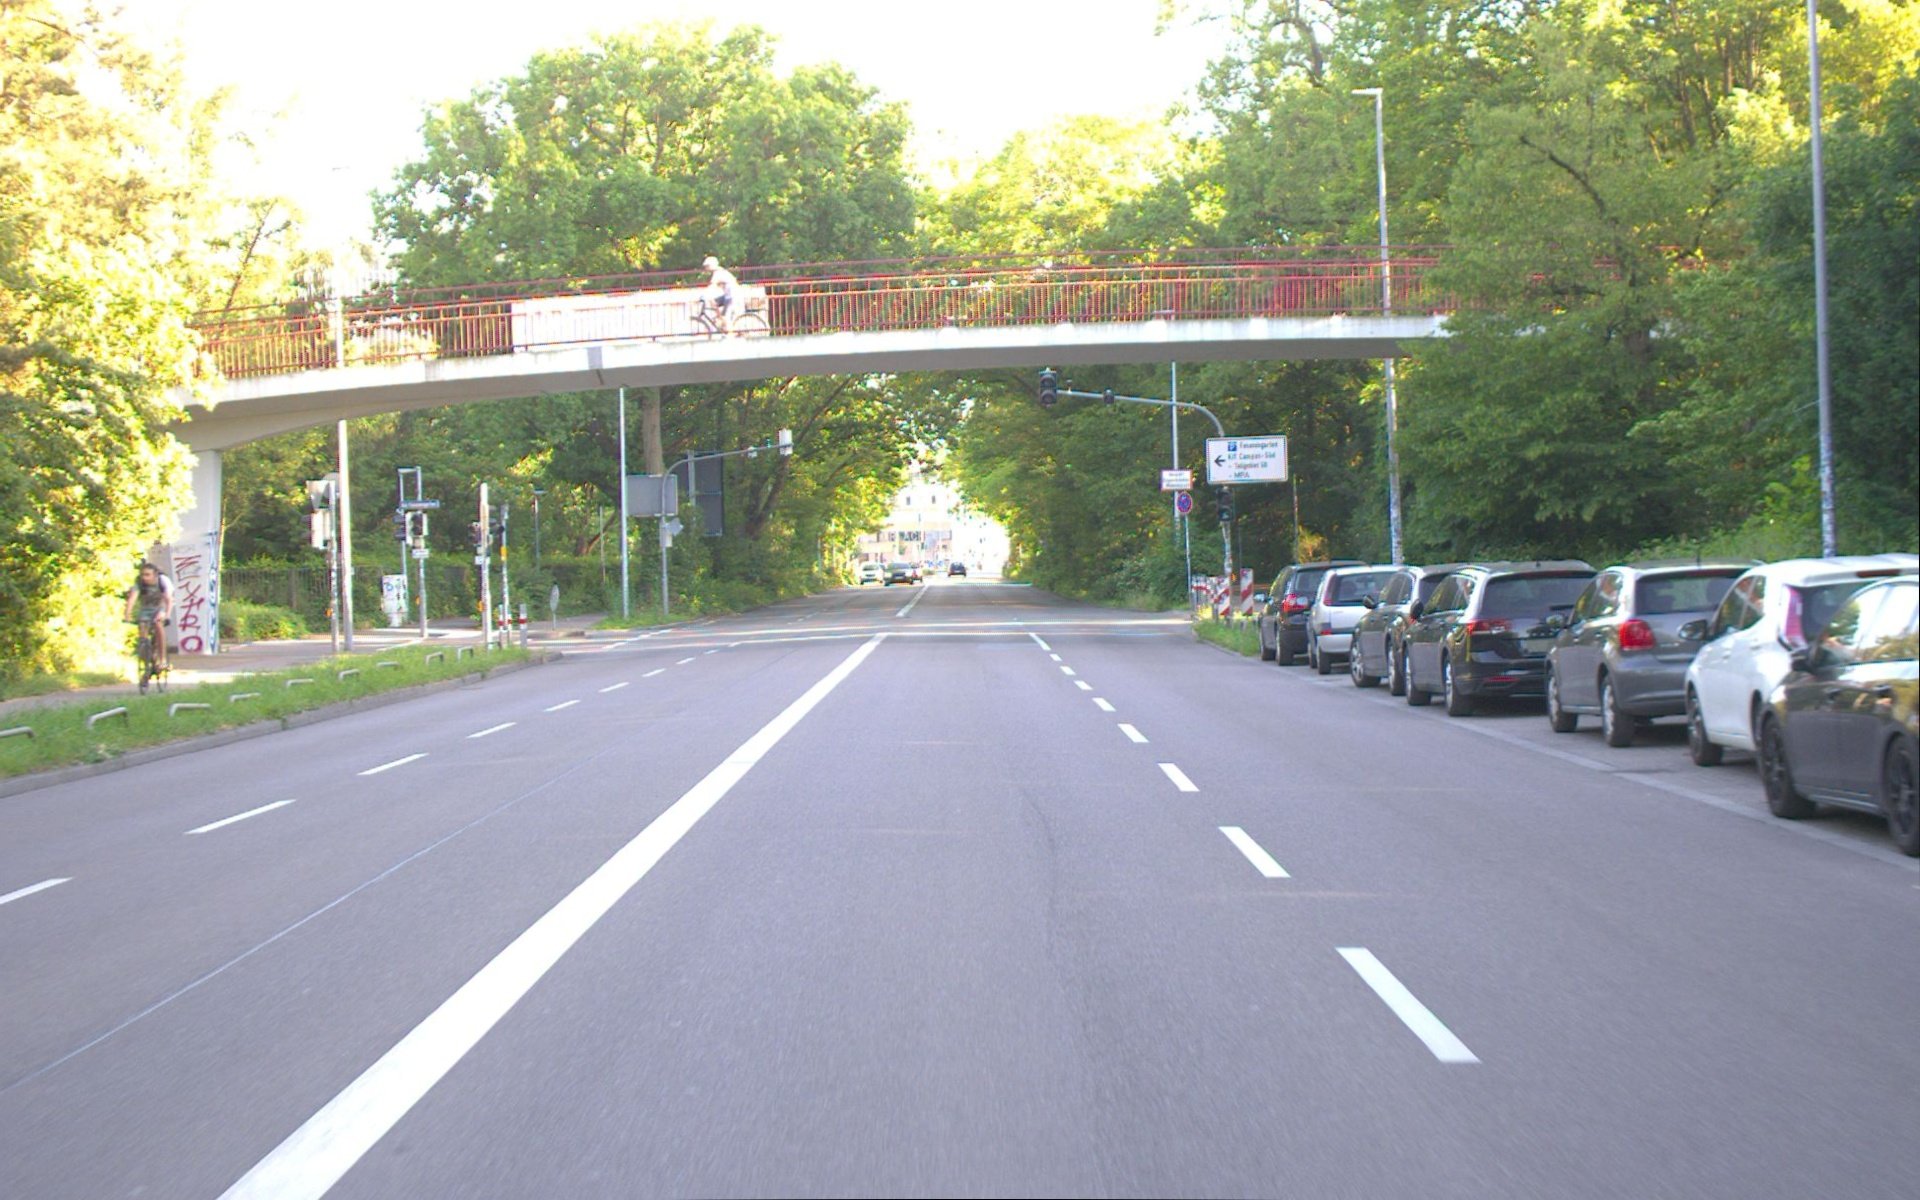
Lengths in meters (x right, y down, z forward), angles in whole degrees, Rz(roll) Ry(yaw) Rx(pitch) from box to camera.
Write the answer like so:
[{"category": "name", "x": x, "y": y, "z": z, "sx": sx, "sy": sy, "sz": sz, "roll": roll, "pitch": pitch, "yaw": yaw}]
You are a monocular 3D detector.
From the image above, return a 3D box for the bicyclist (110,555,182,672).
[{"category": "bicyclist", "x": -10.970, "y": 0.175, "z": 46.365, "sx": 0.712, "sy": 1.553, "sz": 1.143, "roll": 0, "pitch": 0, "yaw": 0}]

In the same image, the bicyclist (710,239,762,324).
[{"category": "bicyclist", "x": -4.323, "y": -6.159, "z": 66.482, "sx": 0.970, "sy": 1.580, "sz": 0.714, "roll": 0, "pitch": 0, "yaw": -2}]

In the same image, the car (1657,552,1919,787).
[{"category": "car", "x": 5.995, "y": 0.422, "z": 23.815, "sx": 1.586, "sy": 1.449, "sz": 3.798, "roll": -2, "pitch": 1, "yaw": 1}]

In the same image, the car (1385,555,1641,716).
[{"category": "car", "x": 5.514, "y": 0.313, "z": 34.834, "sx": 1.637, "sy": 1.449, "sz": 4.898, "roll": -2, "pitch": 1, "yaw": -1}]

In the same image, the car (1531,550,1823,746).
[{"category": "car", "x": 5.853, "y": 0.352, "z": 28.468, "sx": 1.586, "sy": 1.449, "sz": 3.943, "roll": -2, "pitch": 1, "yaw": 1}]

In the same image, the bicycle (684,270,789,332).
[{"category": "bicycle", "x": -4.316, "y": -5.775, "z": 66.483, "sx": 1.987, "sy": 1.143, "sz": 0.714, "roll": 0, "pitch": 0, "yaw": -1}]

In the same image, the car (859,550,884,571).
[{"category": "car", "x": -6.688, "y": -2.955, "z": 259.953, "sx": 1.797, "sy": 1.501, "sz": 4.364, "roll": -2, "pitch": 1, "yaw": -1}]

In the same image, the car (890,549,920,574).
[{"category": "car", "x": -3.618, "y": -2.520, "z": 224.905, "sx": 1.887, "sy": 1.501, "sz": 4.364, "roll": -2, "pitch": 1, "yaw": -1}]

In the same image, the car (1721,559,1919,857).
[{"category": "car", "x": 5.561, "y": 0.486, "z": 18.647, "sx": 1.868, "sy": 1.401, "sz": 4.369, "roll": -2, "pitch": 1, "yaw": 0}]

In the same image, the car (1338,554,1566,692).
[{"category": "car", "x": 5.678, "y": 0.227, "z": 40.268, "sx": 1.774, "sy": 1.449, "sz": 5.038, "roll": -2, "pitch": 1, "yaw": -1}]

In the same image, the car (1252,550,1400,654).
[{"category": "car", "x": 5.508, "y": 0.003, "z": 52.169, "sx": 1.774, "sy": 1.449, "sz": 4.388, "roll": -2, "pitch": 1, "yaw": 1}]

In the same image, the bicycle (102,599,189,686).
[{"category": "bicycle", "x": -10.968, "y": 0.562, "z": 46.365, "sx": 0.712, "sy": 1.143, "sz": 1.993, "roll": 0, "pitch": 0, "yaw": 0}]

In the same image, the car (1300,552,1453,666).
[{"category": "car", "x": 5.746, "y": 0.093, "z": 47.758, "sx": 1.774, "sy": 1.449, "sz": 4.014, "roll": -2, "pitch": 1, "yaw": 3}]
